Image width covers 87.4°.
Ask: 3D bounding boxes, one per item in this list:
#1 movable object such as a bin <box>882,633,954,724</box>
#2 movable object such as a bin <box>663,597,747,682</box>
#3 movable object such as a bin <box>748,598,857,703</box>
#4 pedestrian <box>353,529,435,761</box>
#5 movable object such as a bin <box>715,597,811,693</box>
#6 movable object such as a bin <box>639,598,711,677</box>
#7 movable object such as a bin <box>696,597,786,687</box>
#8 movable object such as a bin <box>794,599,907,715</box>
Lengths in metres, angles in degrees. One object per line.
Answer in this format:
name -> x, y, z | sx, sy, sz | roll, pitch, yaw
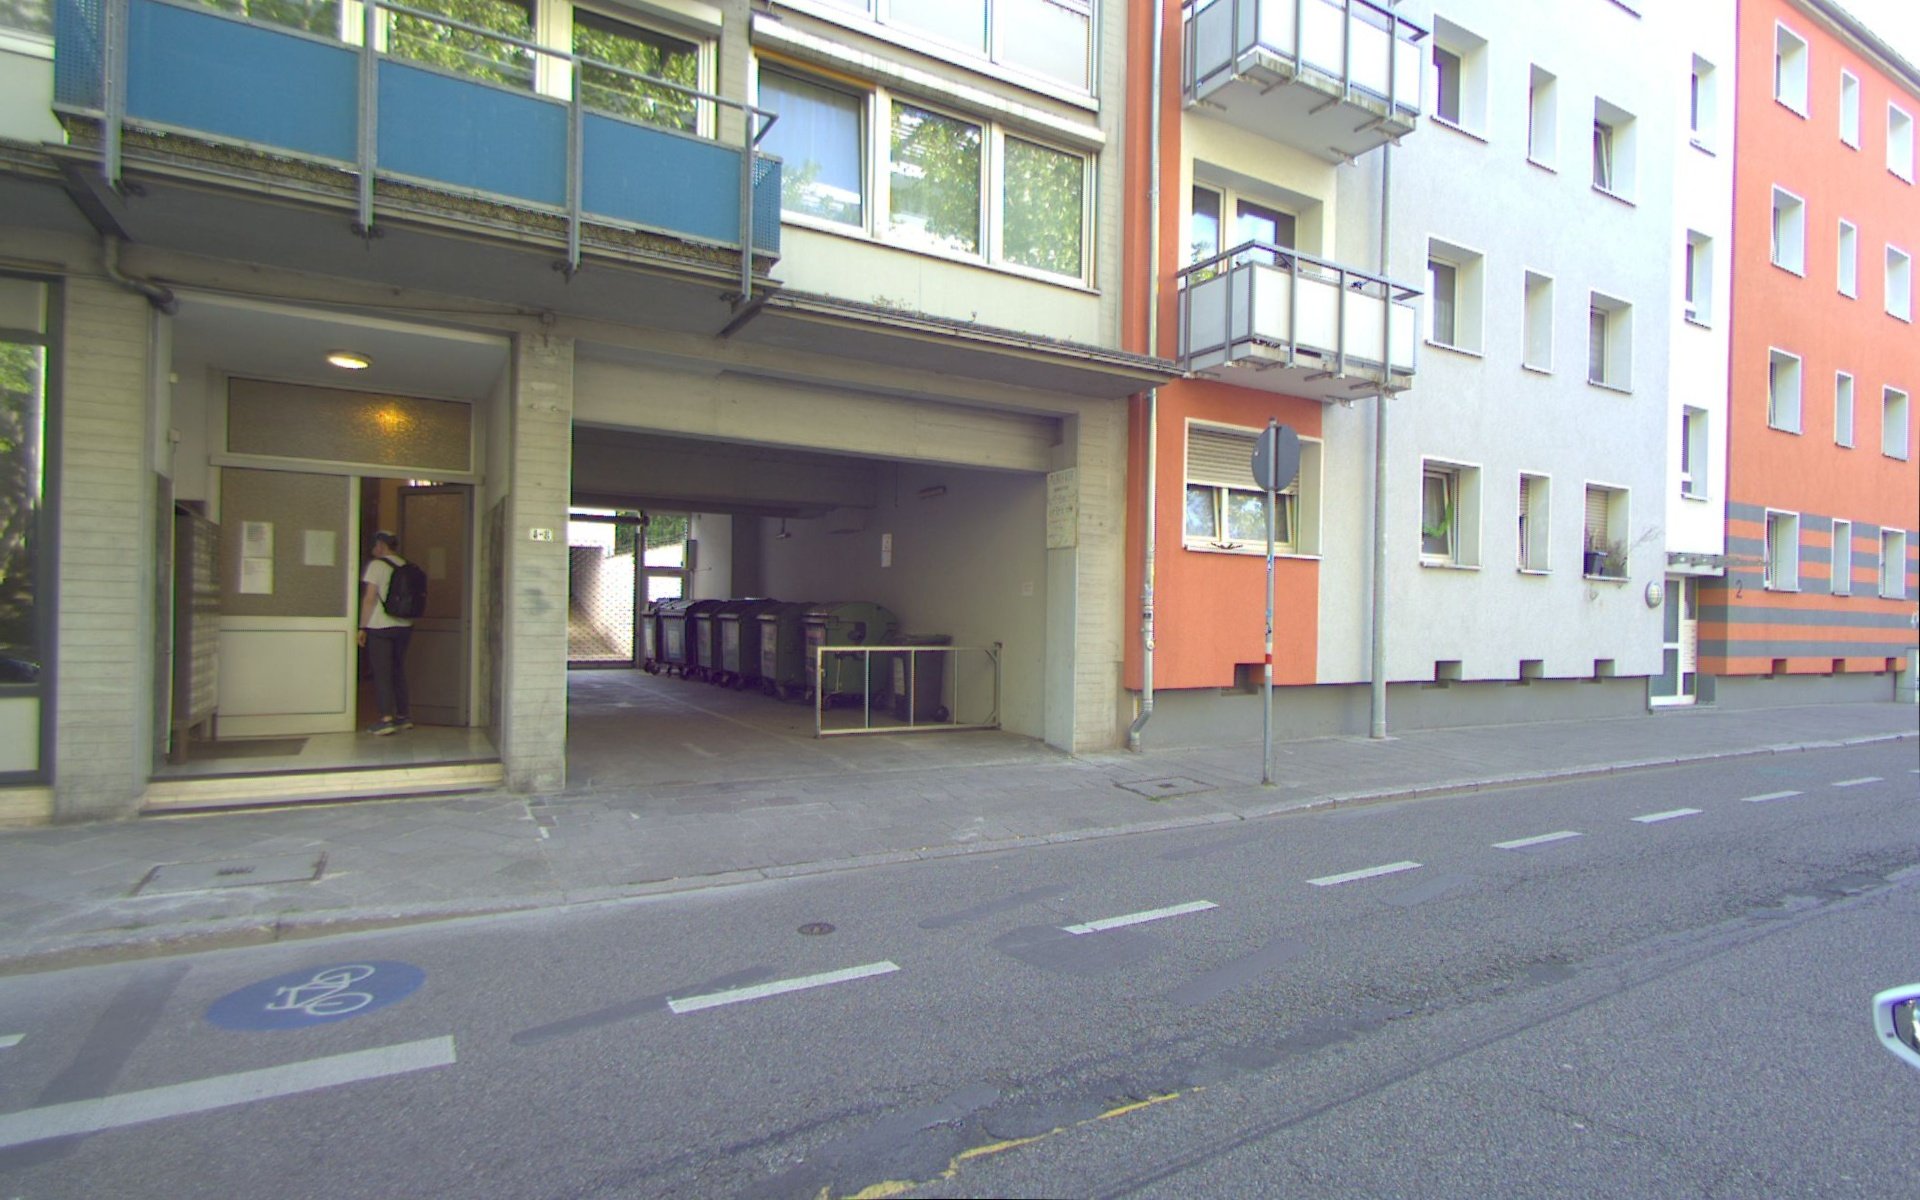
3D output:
movable object such as a bin -> -0.523, 0.961, 12.464 | 0.694, 1.061, 0.567 | 2, 0, -28
movable object such as a bin -> -4.754, 0.721, 18.697 | 1.264, 1.506, 1.155 | 2, 0, -28
movable object such as a bin -> -2.389, 0.735, 15.169 | 1.264, 1.493, 1.265 | 2, -1, -28
pedestrian -> -5.058, 0.390, 8.979 | 0.578, 1.985, 0.606 | 2, 0, -31
movable object such as a bin -> -3.286, 0.727, 16.706 | 1.264, 1.506, 1.155 | 2, 0, -28
movable object such as a bin -> -5.673, 0.731, 19.952 | 1.128, 1.484, 1.129 | 2, 0, -28
movable object such as a bin -> -3.889, 0.729, 17.754 | 1.264, 1.515, 1.155 | 2, 0, -28
movable object such as a bin -> -1.523, 0.756, 13.816 | 1.128, 1.484, 1.255 | 2, 0, -28
